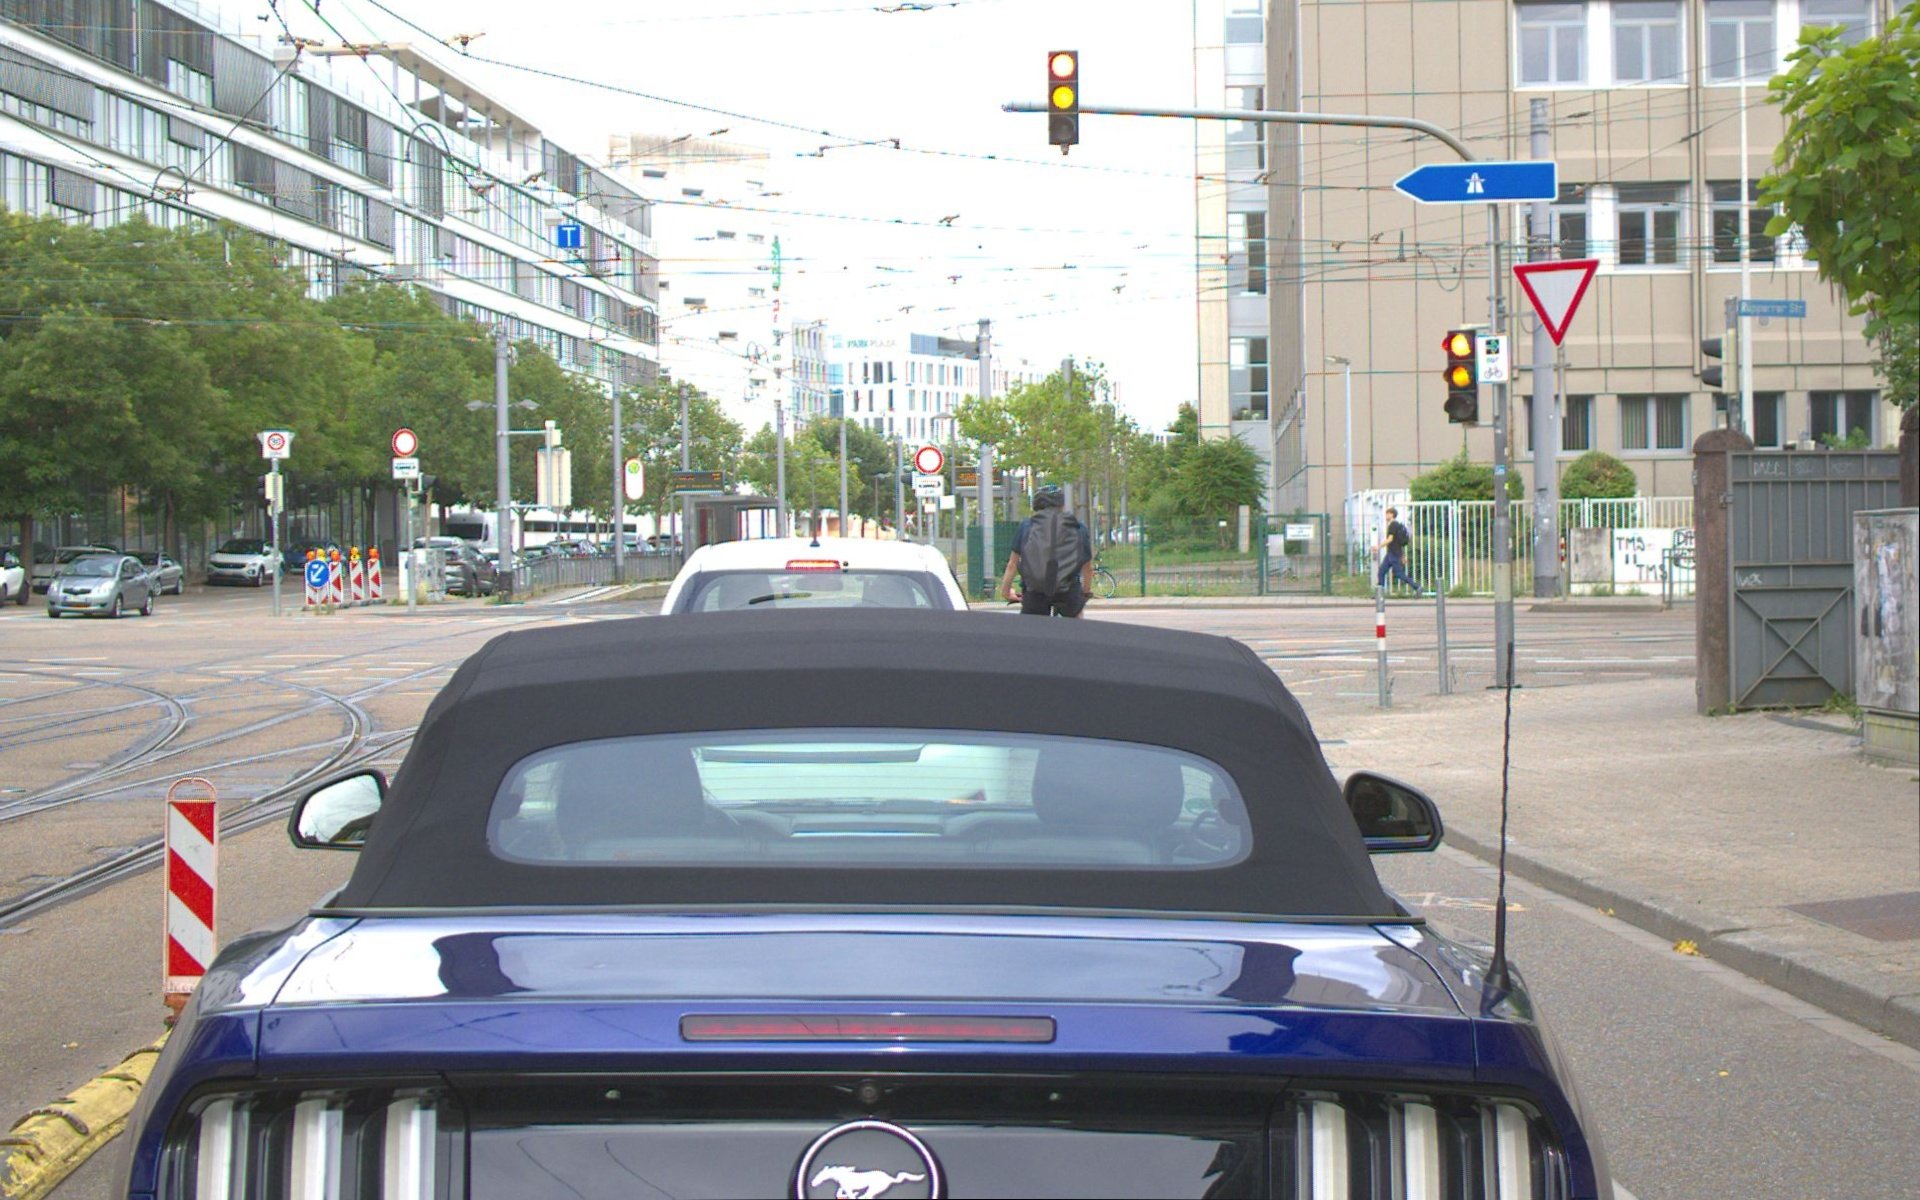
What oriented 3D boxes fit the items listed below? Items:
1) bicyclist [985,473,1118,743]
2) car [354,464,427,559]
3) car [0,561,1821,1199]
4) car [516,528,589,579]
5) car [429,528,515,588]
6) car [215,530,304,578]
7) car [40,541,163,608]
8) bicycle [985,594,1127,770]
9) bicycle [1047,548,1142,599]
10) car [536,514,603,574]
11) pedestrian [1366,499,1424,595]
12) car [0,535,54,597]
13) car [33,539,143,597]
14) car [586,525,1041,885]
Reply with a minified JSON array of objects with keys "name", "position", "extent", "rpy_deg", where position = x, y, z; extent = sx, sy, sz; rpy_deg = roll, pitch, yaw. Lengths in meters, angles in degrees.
[{"name":"bicyclist","position":[0.614,0.041,23.457],"extent":[0.796,1.779,1.233],"rpy_deg":[-1,1,-2]},{"name":"car","position":[-22.394,-3.467,135.334],"extent":[1.986,3.624,4.512],"rpy_deg":[1,1,1]},{"name":"car","position":[-0.135,0.671,5.439],"extent":[1.876,1.399,4.282],"rpy_deg":[1,1,0]},{"name":"car","position":[-13.103,-1.514,110.784],"extent":[1.868,1.600,4.213],"rpy_deg":[-1,1,-1]},{"name":"car","position":[-13.780,-1.197,97.251],"extent":[1.879,1.623,4.087],"rpy_deg":[-1,1,-1]},{"name":"car","position":[-23.681,-1.568,116.344],"extent":[1.986,1.551,4.512],"rpy_deg":[1,1,1]},{"name":"car","position":[-20.695,-0.634,83.038],"extent":[1.668,1.501,4.234],"rpy_deg":[1,1,3]},{"name":"bicycle","position":[0.629,0.528,23.294],"extent":[0.800,1.082,2.132],"rpy_deg":[-1,1,-2]},{"name":"bicycle","position":[2.833,-0.561,72.724],"extent":[0.632,0.977,2.157],"rpy_deg":[-2,-1,-42]},{"name":"car","position":[-13.149,-1.900,115.946],"extent":[1.785,1.980,4.121],"rpy_deg":[-1,1,-1]},{"name":"pedestrian","position":[8.736,-1.072,69.066],"extent":[1.086,1.891,0.902],"rpy_deg":[-1,1,5]},{"name":"car","position":[-25.571,-0.933,91.018],"extent":[1.830,1.551,4.216],"rpy_deg":[1,1,3]},{"name":"car","position":[-24.853,-0.938,98.154],"extent":[1.830,1.551,4.216],"rpy_deg":[1,1,3]},{"name":"car","position":[-0.765,0.382,16.118],"extent":[1.835,1.434,4.188],"rpy_deg":[-1,1,-5]}]
